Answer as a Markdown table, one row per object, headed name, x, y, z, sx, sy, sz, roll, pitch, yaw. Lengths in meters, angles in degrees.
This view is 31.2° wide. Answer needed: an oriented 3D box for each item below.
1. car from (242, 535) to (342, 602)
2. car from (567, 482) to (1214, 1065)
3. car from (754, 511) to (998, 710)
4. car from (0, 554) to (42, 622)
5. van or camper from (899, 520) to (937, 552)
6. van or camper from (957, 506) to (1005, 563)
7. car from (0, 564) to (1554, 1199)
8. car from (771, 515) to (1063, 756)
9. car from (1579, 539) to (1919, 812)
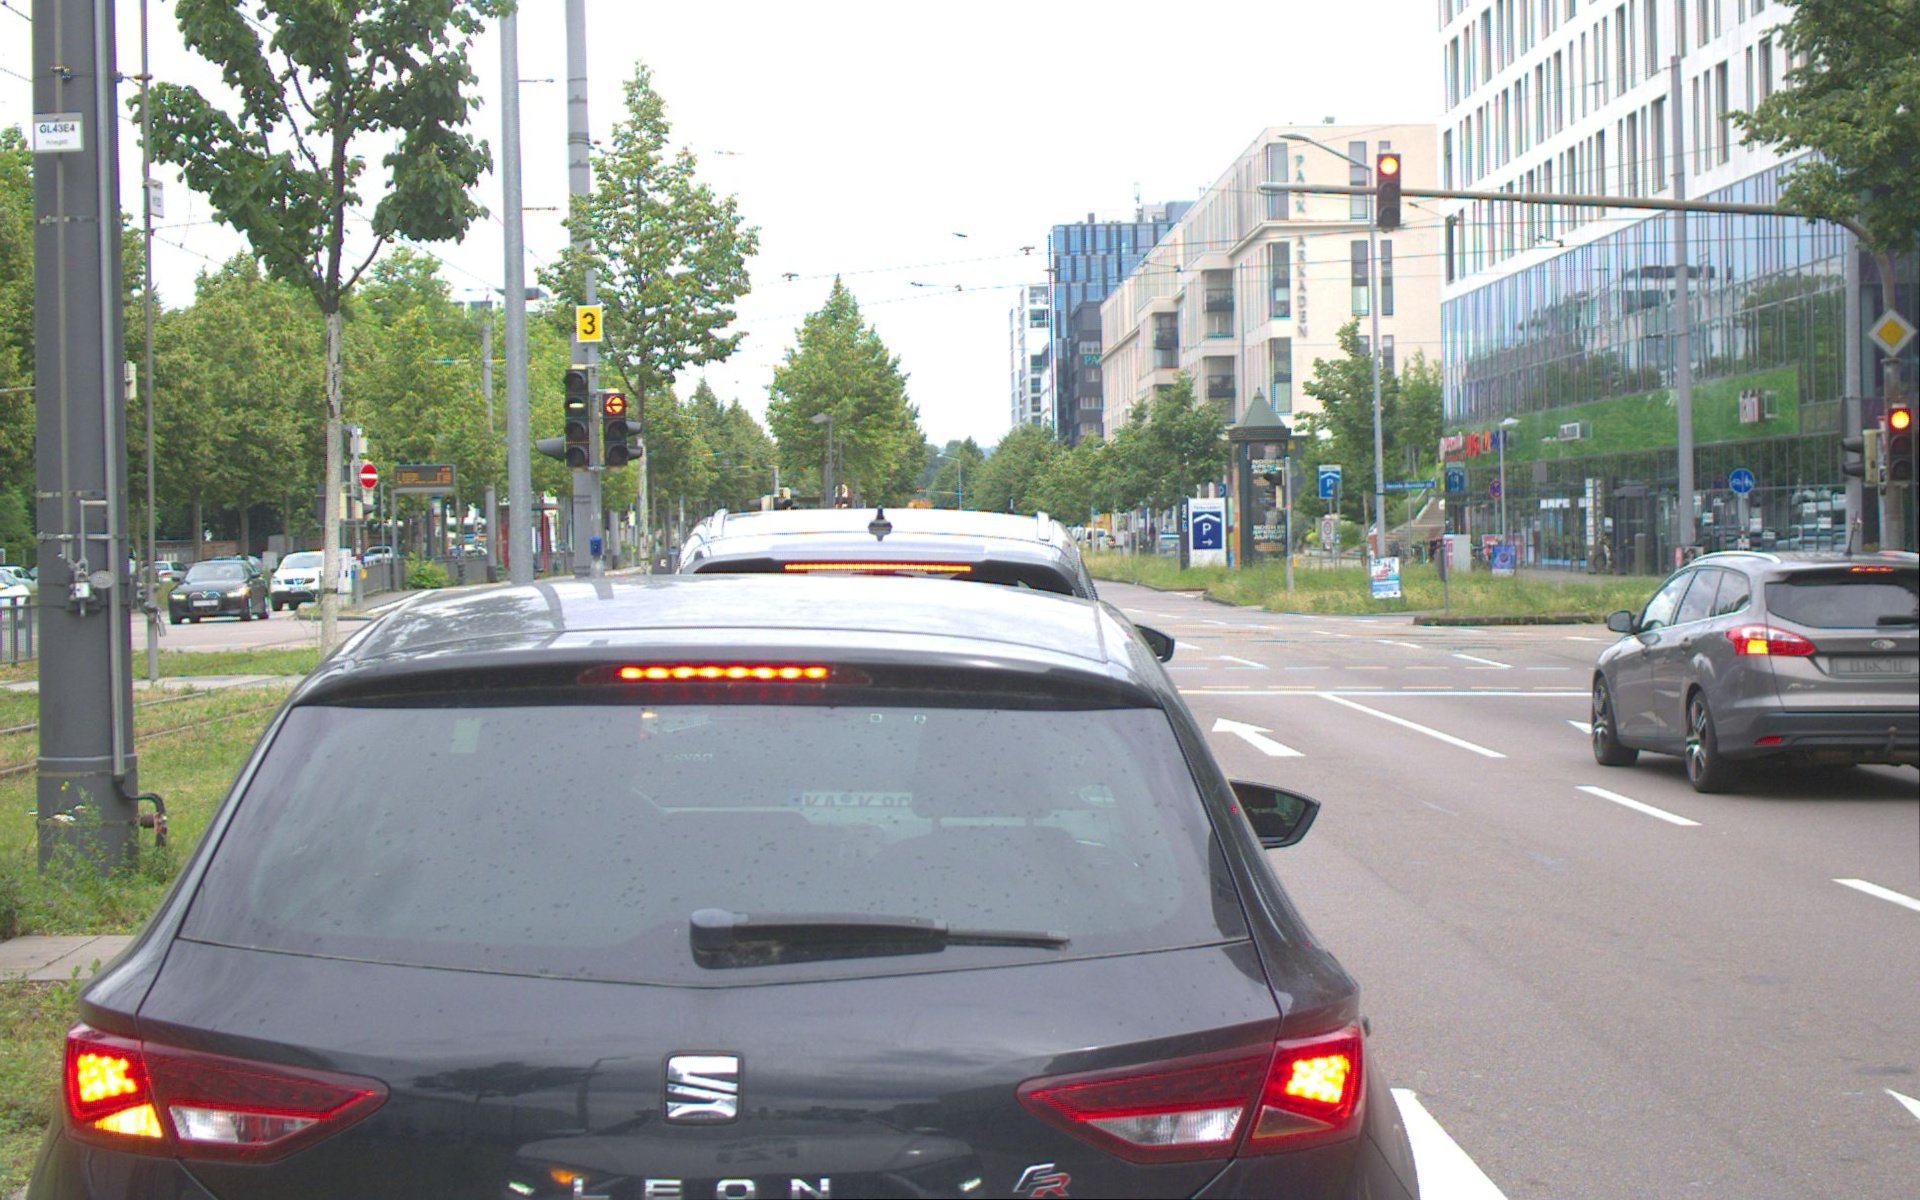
| name | x | y | z | sx | sy | sz | roll | pitch | yaw |
| --- | --- | --- | --- | --- | --- | --- | --- | --- | --- |
| car | -18.316 | -0.886 | 94.405 | 1.993 | 1.744 | 4.201 | -1 | 1 | -2 |
| car | -0.218 | 0.447 | 11.705 | 1.802 | 1.619 | 4.000 | -1 | 1 | -1 |
| car | -0.695 | 0.041 | 31.149 | 1.993 | 1.676 | 4.000 | 0 | 1 | 2 |
| car | -23.413 | -0.282 | 81.846 | 1.811 | 1.583 | 5.078 | -1 | 1 | -1 |
| van or camper | -2.299 | -3.511 | 188.013 | 1.993 | 1.609 | 4.789 | 0 | 2 | 0 |
| van or camper | 0.927 | -2.951 | 153.566 | 2.109 | 2.348 | 4.924 | 0 | 3 | 0 |
| car | -0.325 | 0.681 | 5.482 | 1.743 | 1.412 | 4.000 | 0 | 1 | -1 |
| car | -0.244 | 0.199 | 26.089 | 1.994 | 1.676 | 4.000 | 1 | 1 | 2 |
| car | 5.270 | 0.401 | 22.060 | 1.748 | 1.494 | 4.269 | 0 | 2 | -1 |
